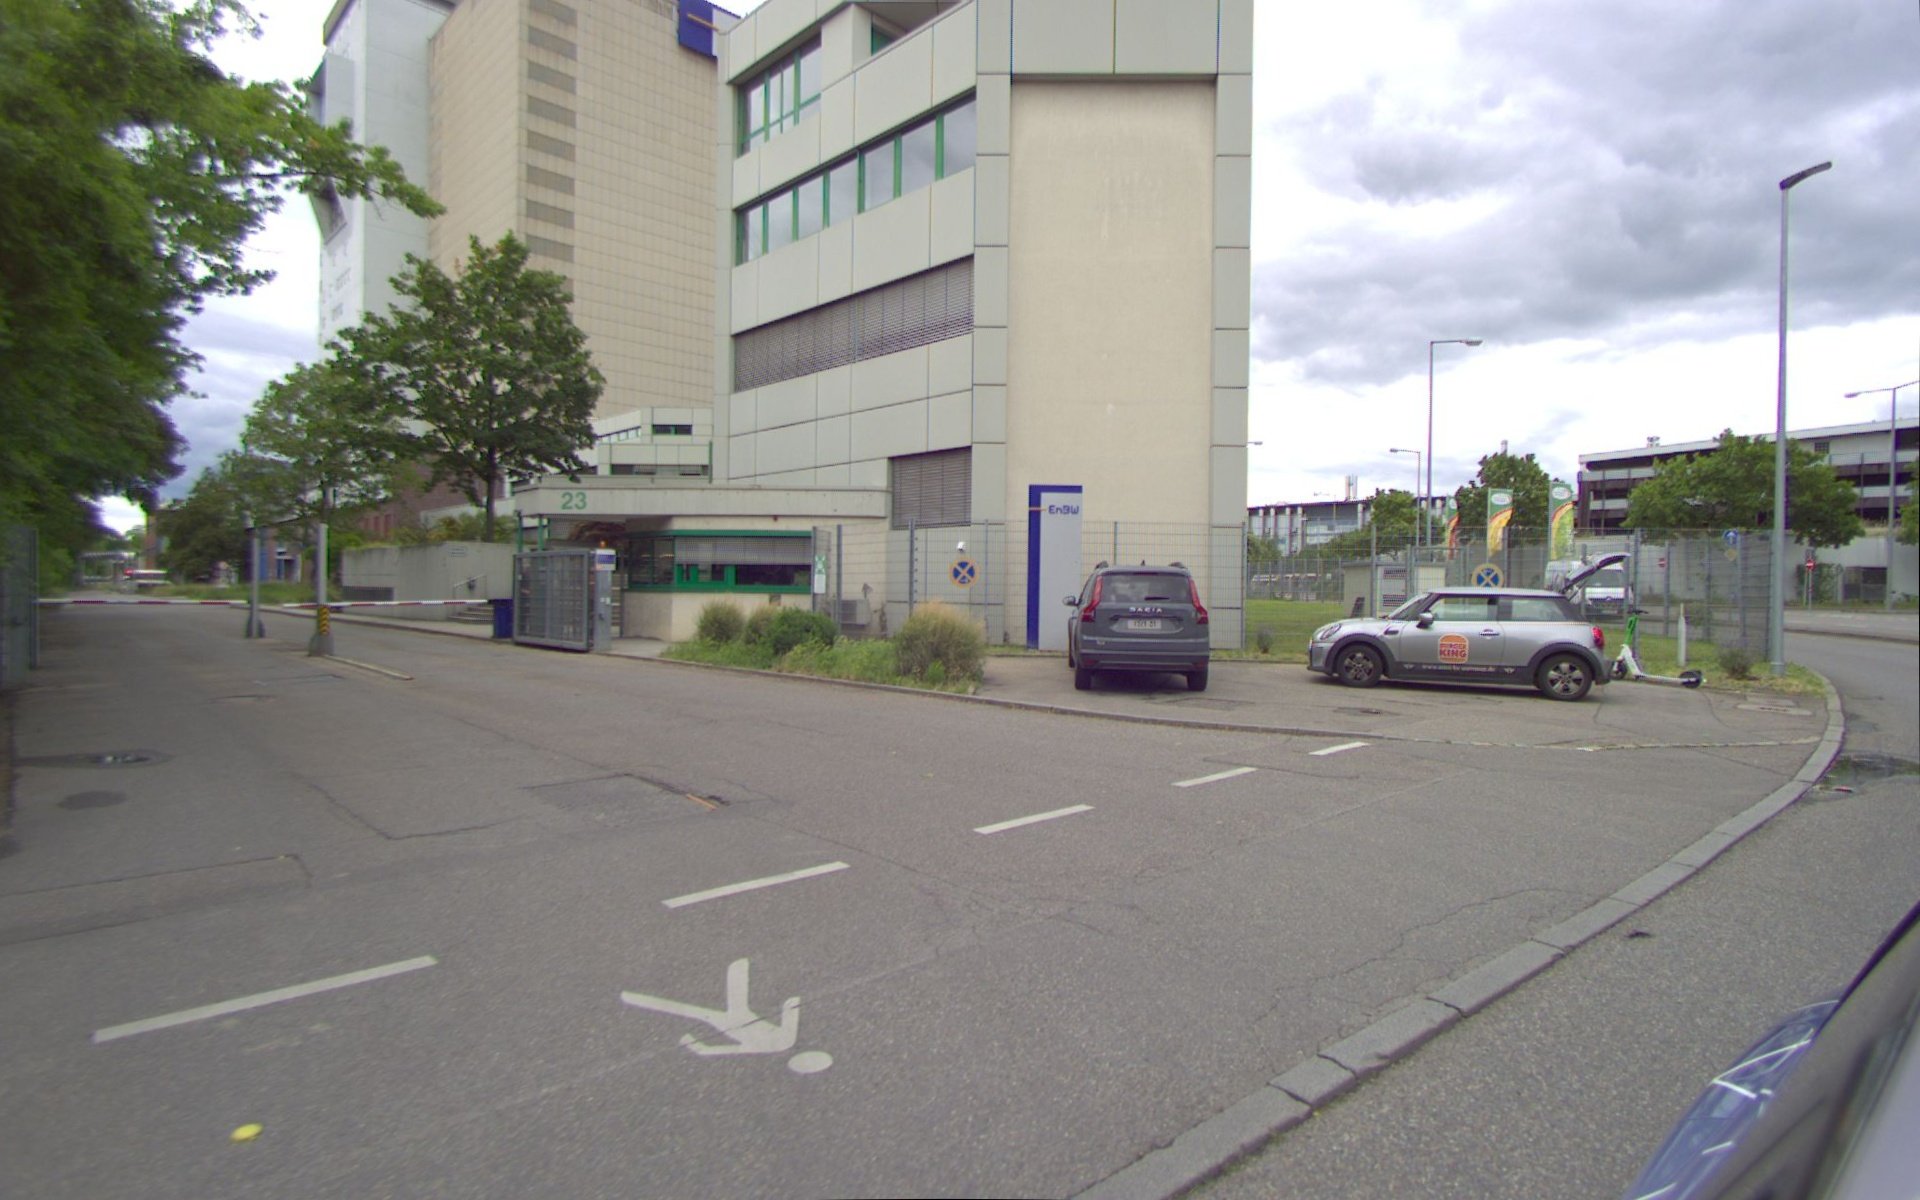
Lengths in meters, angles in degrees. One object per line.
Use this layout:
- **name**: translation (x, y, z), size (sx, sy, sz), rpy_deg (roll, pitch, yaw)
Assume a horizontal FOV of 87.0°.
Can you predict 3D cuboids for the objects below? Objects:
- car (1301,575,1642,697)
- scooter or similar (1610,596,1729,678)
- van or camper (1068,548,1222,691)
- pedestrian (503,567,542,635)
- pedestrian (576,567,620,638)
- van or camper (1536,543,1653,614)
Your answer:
- **car**: translation (6.944, 0.402, 14.121), size (3.978, 1.449, 1.771), rpy_deg (1, 1, 25)
- **scooter or similar**: translation (11.011, 0.549, 15.739), size (0.472, 1.147, 1.418), rpy_deg (0, 3, -39)
- **van or camper**: translation (2.479, 0.202, 14.534), size (1.801, 1.715, 4.499), rpy_deg (-1, 1, 6)
- **pedestrian**: translation (-11.221, 0.029, 25.966), size (0.768, 1.707, 0.715), rpy_deg (1, 0, -36)
- **pedestrian**: translation (-8.528, 0.060, 23.831), size (0.768, 1.641, 0.715), rpy_deg (1, 0, -36)
- **van or camper**: translation (25.108, -0.854, 40.351), size (2.240, 2.589, 6.080), rpy_deg (0, 1, 15)
